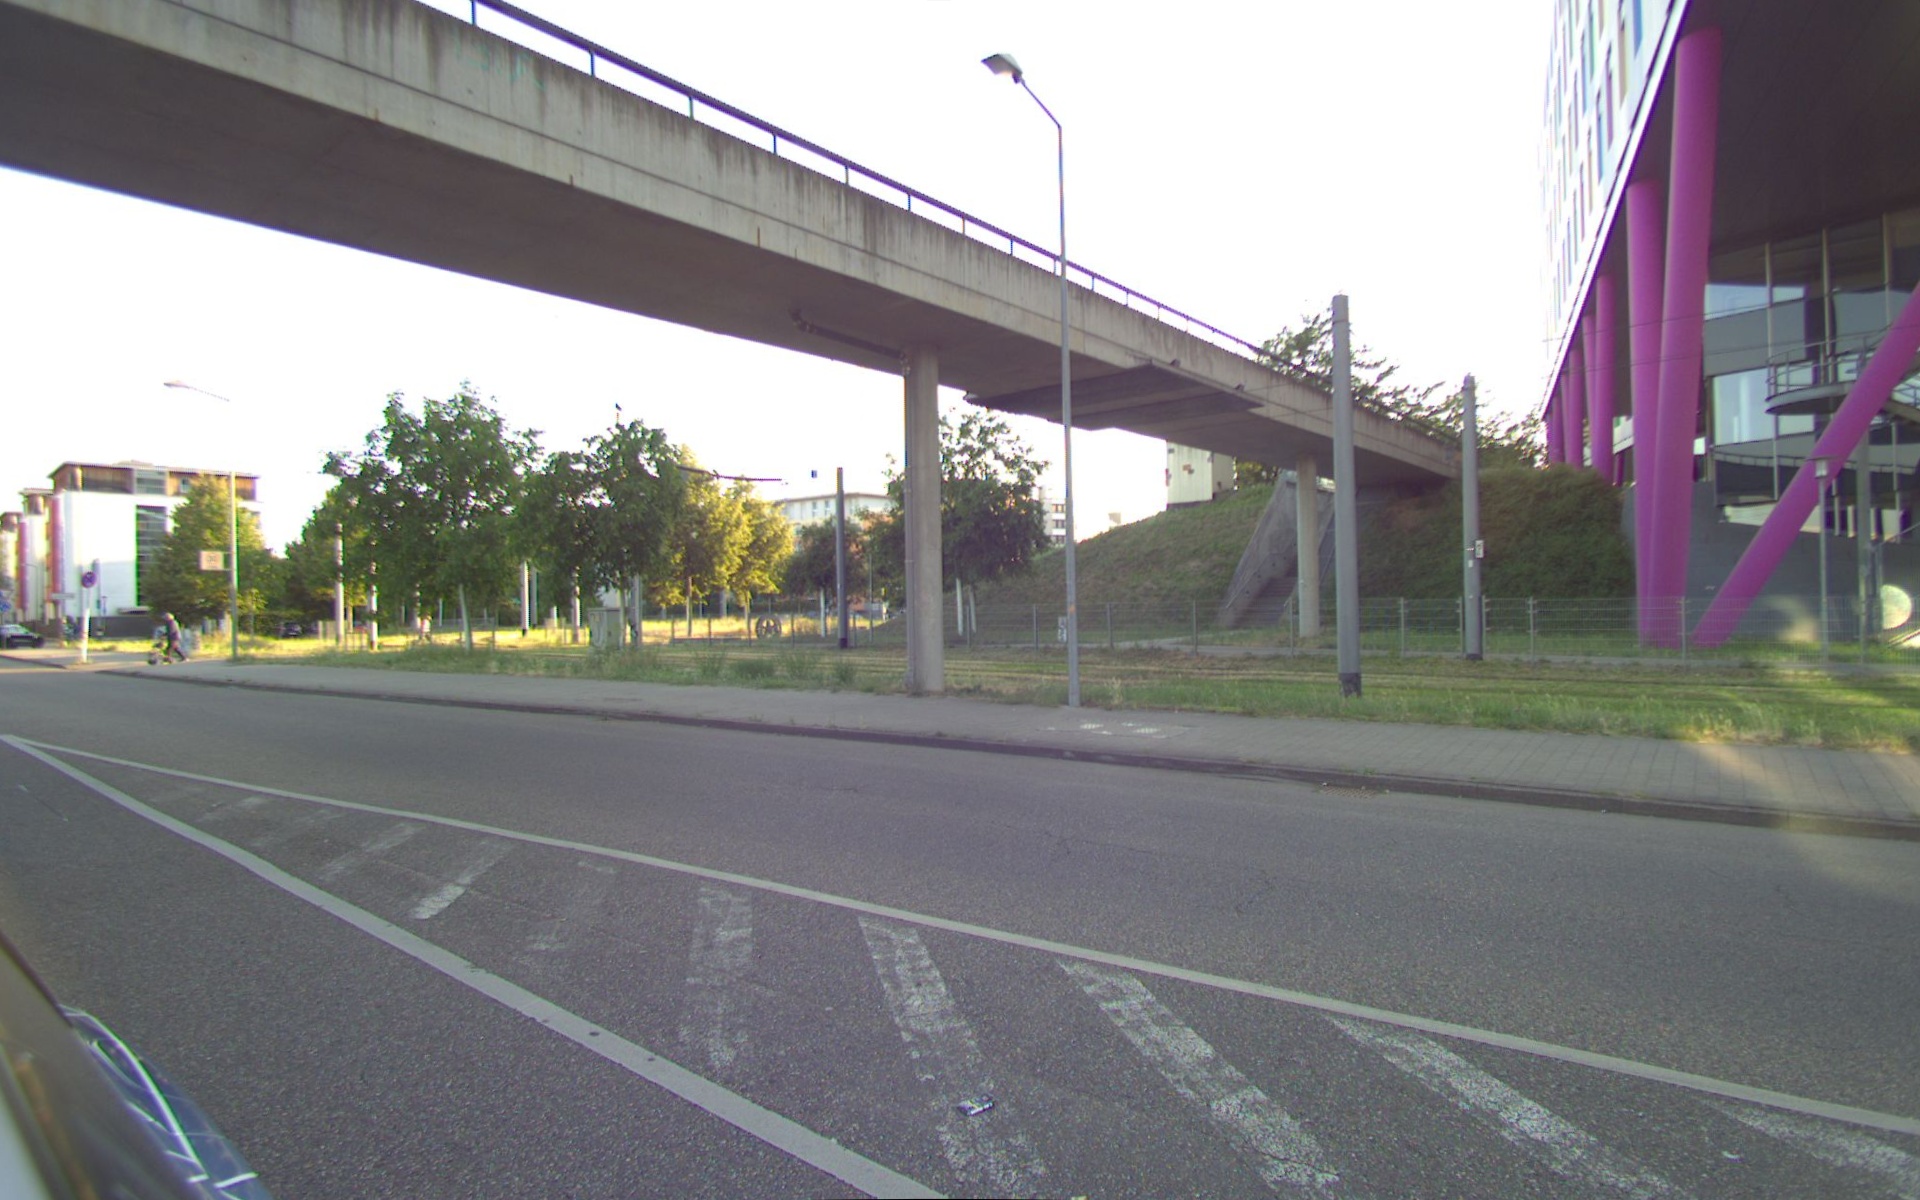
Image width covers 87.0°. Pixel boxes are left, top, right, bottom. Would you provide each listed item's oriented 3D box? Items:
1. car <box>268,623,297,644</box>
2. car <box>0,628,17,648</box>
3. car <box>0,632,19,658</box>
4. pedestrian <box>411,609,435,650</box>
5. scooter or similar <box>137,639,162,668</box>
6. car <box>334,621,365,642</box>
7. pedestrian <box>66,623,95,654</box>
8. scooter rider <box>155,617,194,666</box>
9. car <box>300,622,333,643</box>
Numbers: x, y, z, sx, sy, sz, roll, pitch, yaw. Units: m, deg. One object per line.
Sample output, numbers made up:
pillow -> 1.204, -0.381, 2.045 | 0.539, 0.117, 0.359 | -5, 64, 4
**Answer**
car -> -57.215, 2.817, 85.439 | 1.842, 1.734, 3.853 | -1, -1, -38
car -> -80.761, 3.179, 83.395 | 1.839, 1.571, 4.330 | -1, 0, 42
car -> -62.125, 2.911, 64.887 | 1.966, 1.575, 4.011 | -1, -1, -33
pedestrian -> -21.332, 1.166, 40.209 | 0.767, 1.623, 0.417 | -1, -1, -38
scooter or similar -> -26.586, 1.748, 33.198 | 0.722, 0.902, 0.545 | -1, -1, 42
car -> -53.574, 2.762, 88.769 | 1.842, 1.734, 3.853 | -1, -1, -38
pedestrian -> -58.095, 2.528, 66.849 | 1.072, 2.029, 1.143 | -1, 0, -21
scooter rider -> -26.162, 1.386, 33.710 | 0.711, 1.589, 0.886 | -2, -1, 41
car -> -55.374, 2.786, 87.044 | 1.843, 1.734, 3.851 | -1, -1, -40
